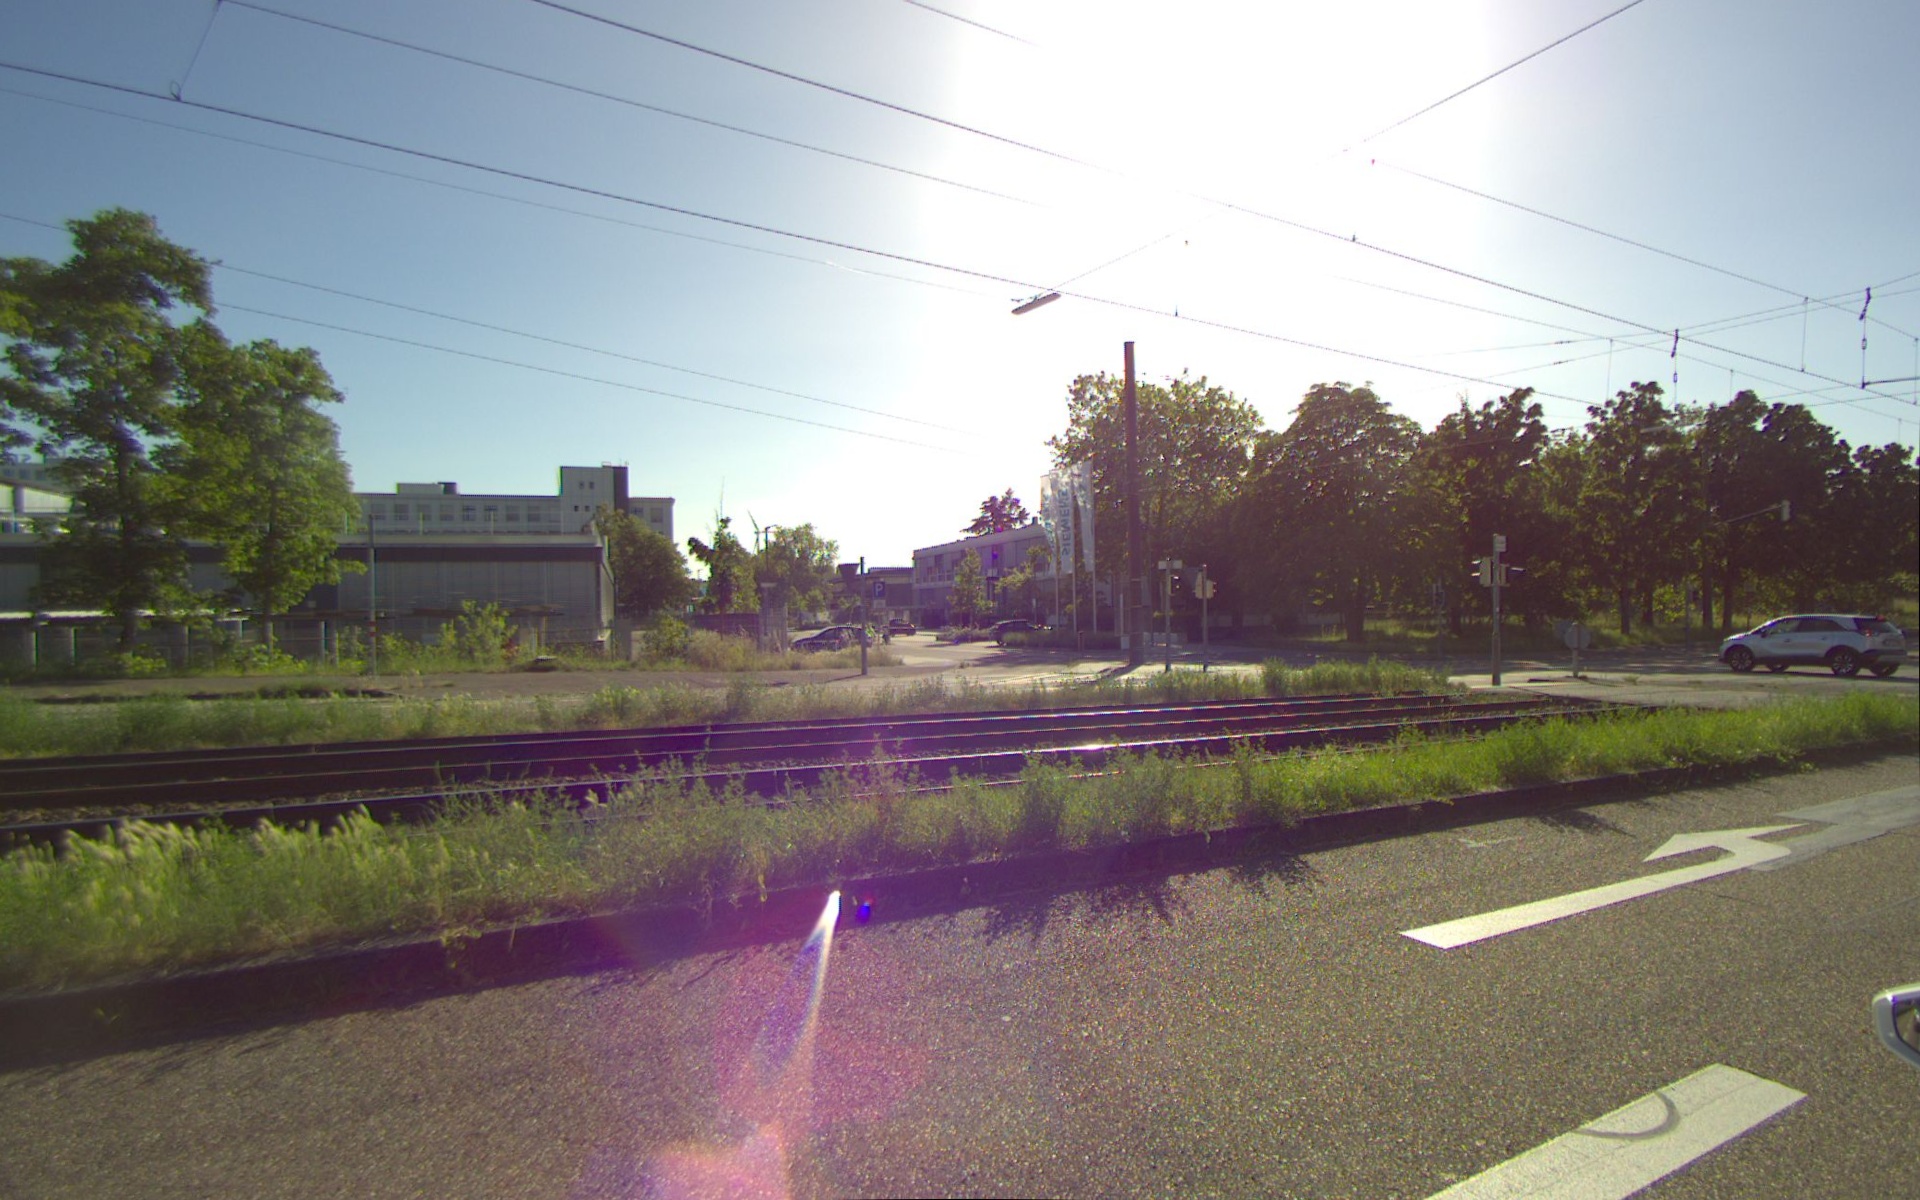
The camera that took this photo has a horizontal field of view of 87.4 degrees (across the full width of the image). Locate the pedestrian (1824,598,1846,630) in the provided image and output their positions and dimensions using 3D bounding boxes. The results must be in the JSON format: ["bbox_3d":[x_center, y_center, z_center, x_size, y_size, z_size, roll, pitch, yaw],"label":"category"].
[{"bbox_3d":[55.137,0.877,63.307,0.853,2.040,0.835,0,0,-32],"label":"pedestrian"}]

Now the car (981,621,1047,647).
[{"bbox_3d":[3.347,2.065,62.115,3.818,1.508,1.682,0,0,-32],"label":"car"}]

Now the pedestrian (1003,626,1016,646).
[{"bbox_3d":[3.751,2.729,76.124,0.808,1.549,0.764,0,0,-8],"label":"pedestrian"}]

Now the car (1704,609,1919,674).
[{"bbox_3d":[23.253,1.078,27.640,1.827,1.628,4.239,1,0,-17],"label":"car"}]

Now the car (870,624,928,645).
[{"bbox_3d":[-4.399,2.457,72.199,3.893,1.471,1.688,0,0,-21],"label":"car"}]

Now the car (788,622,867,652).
[{"bbox_3d":[-6.878,1.901,52.113,3.806,1.453,1.687,0,0,-23],"label":"car"}]
